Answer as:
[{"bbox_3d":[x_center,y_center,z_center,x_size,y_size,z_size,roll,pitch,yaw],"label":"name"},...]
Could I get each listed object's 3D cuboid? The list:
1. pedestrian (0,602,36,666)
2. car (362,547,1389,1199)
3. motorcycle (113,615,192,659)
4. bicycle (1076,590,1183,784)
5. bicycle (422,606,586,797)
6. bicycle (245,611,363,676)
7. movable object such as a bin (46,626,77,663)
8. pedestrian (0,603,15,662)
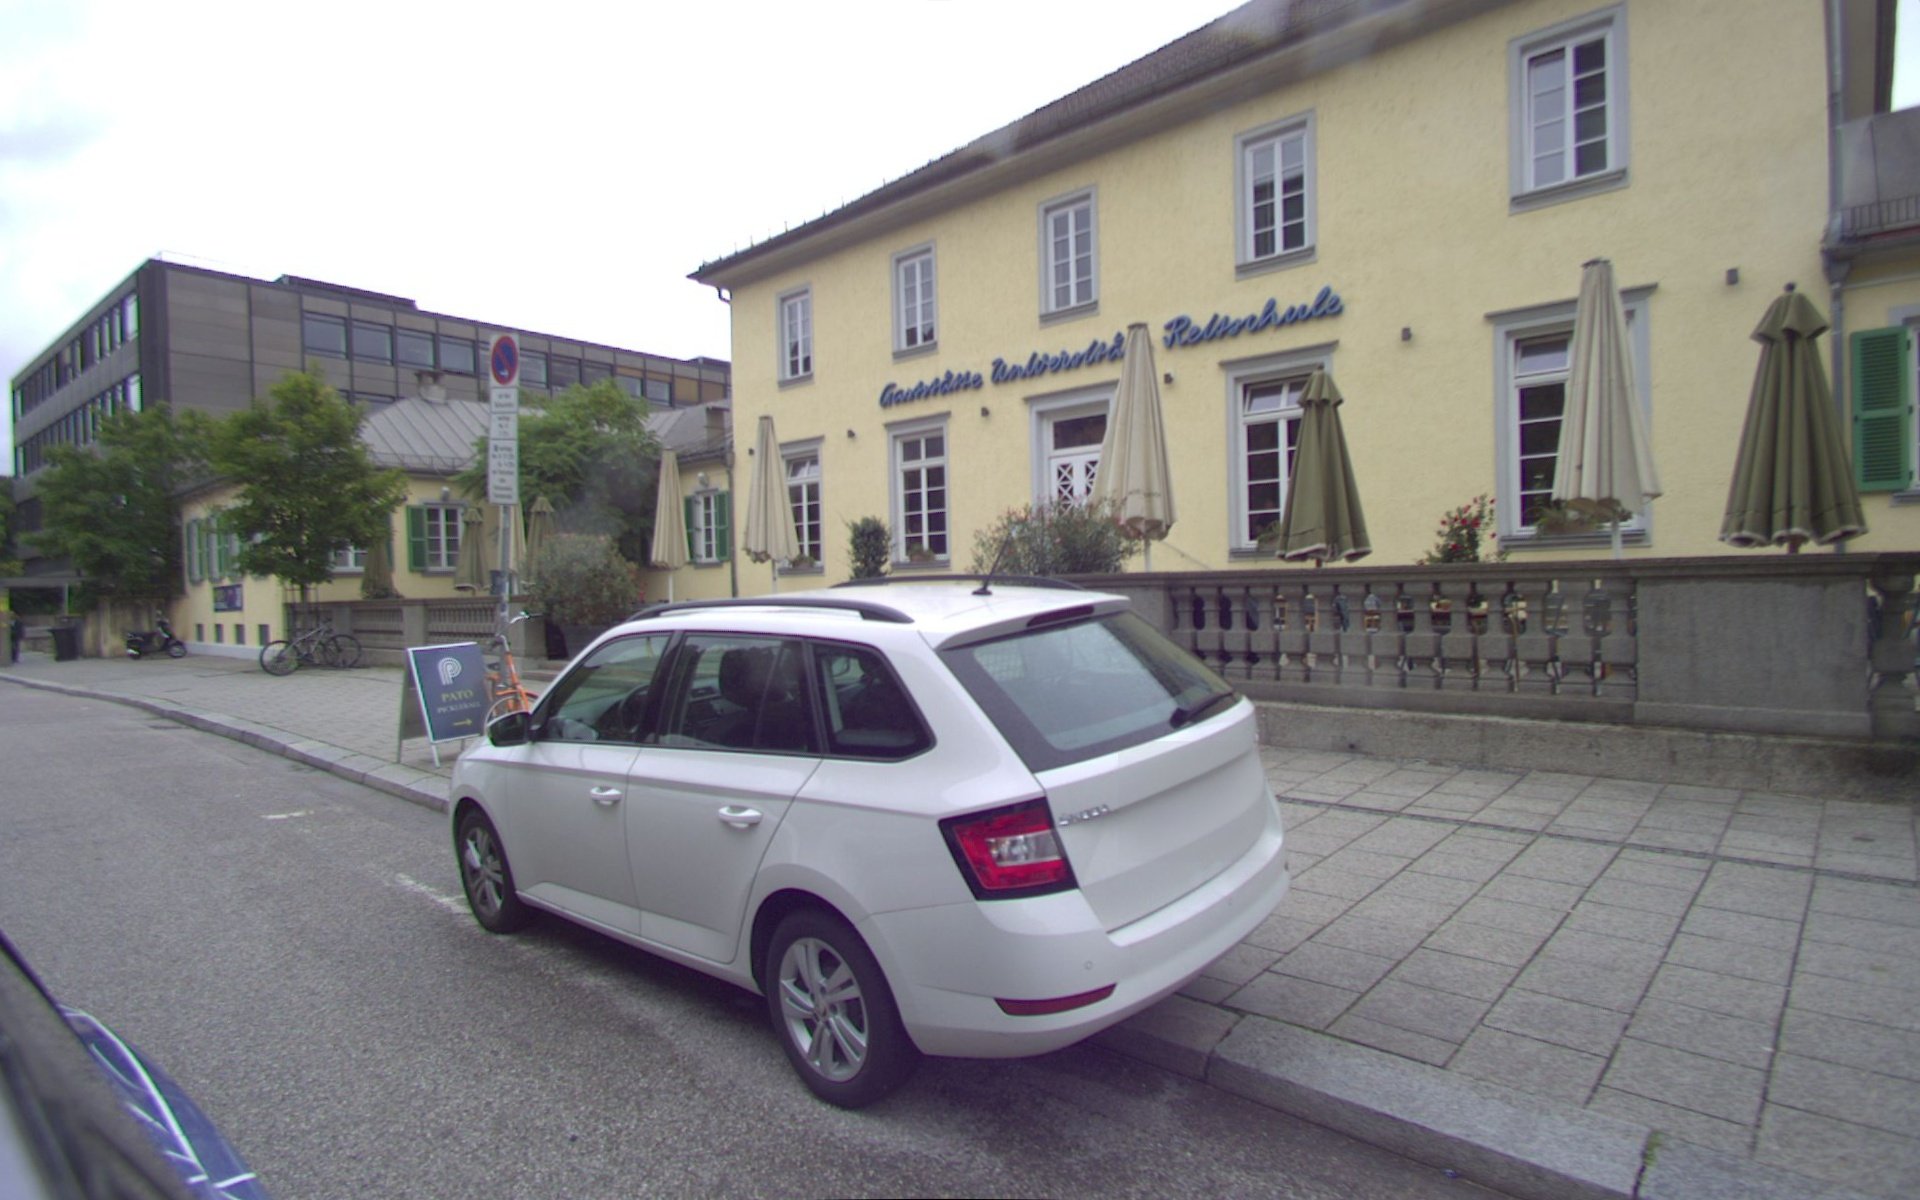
[{"bbox_3d":[-31.493,1.114,33.617,0.913,2.028,0.965,-1,2,39],"label":"pedestrian"},{"bbox_3d":[-0.798,0.646,4.253,4.461,1.503,1.706,-1,2,43],"label":"car"},{"bbox_3d":[-23.456,1.070,29.411,1.642,1.120,0.591,-4,3,-7],"label":"motorcycle"},{"bbox_3d":[1.214,0.578,7.510,0.563,1.271,1.567,-2,0,3],"label":"bicycle"},{"bbox_3d":[-3.799,0.760,8.354,0.770,1.379,1.698,-2,1,-40],"label":"bicycle"},{"bbox_3d":[-13.119,0.842,20.288,0.466,1.042,1.824,-2,5,42],"label":"bicycle"},{"bbox_3d":[-28.057,1.389,31.605,0.459,1.117,0.607,-1,2,38],"label":"movable object such as a bin"},{"bbox_3d":[-34.372,1.166,35.541,1.499,2.028,1.462,-1,2,39],"label":"pedestrian"}]
